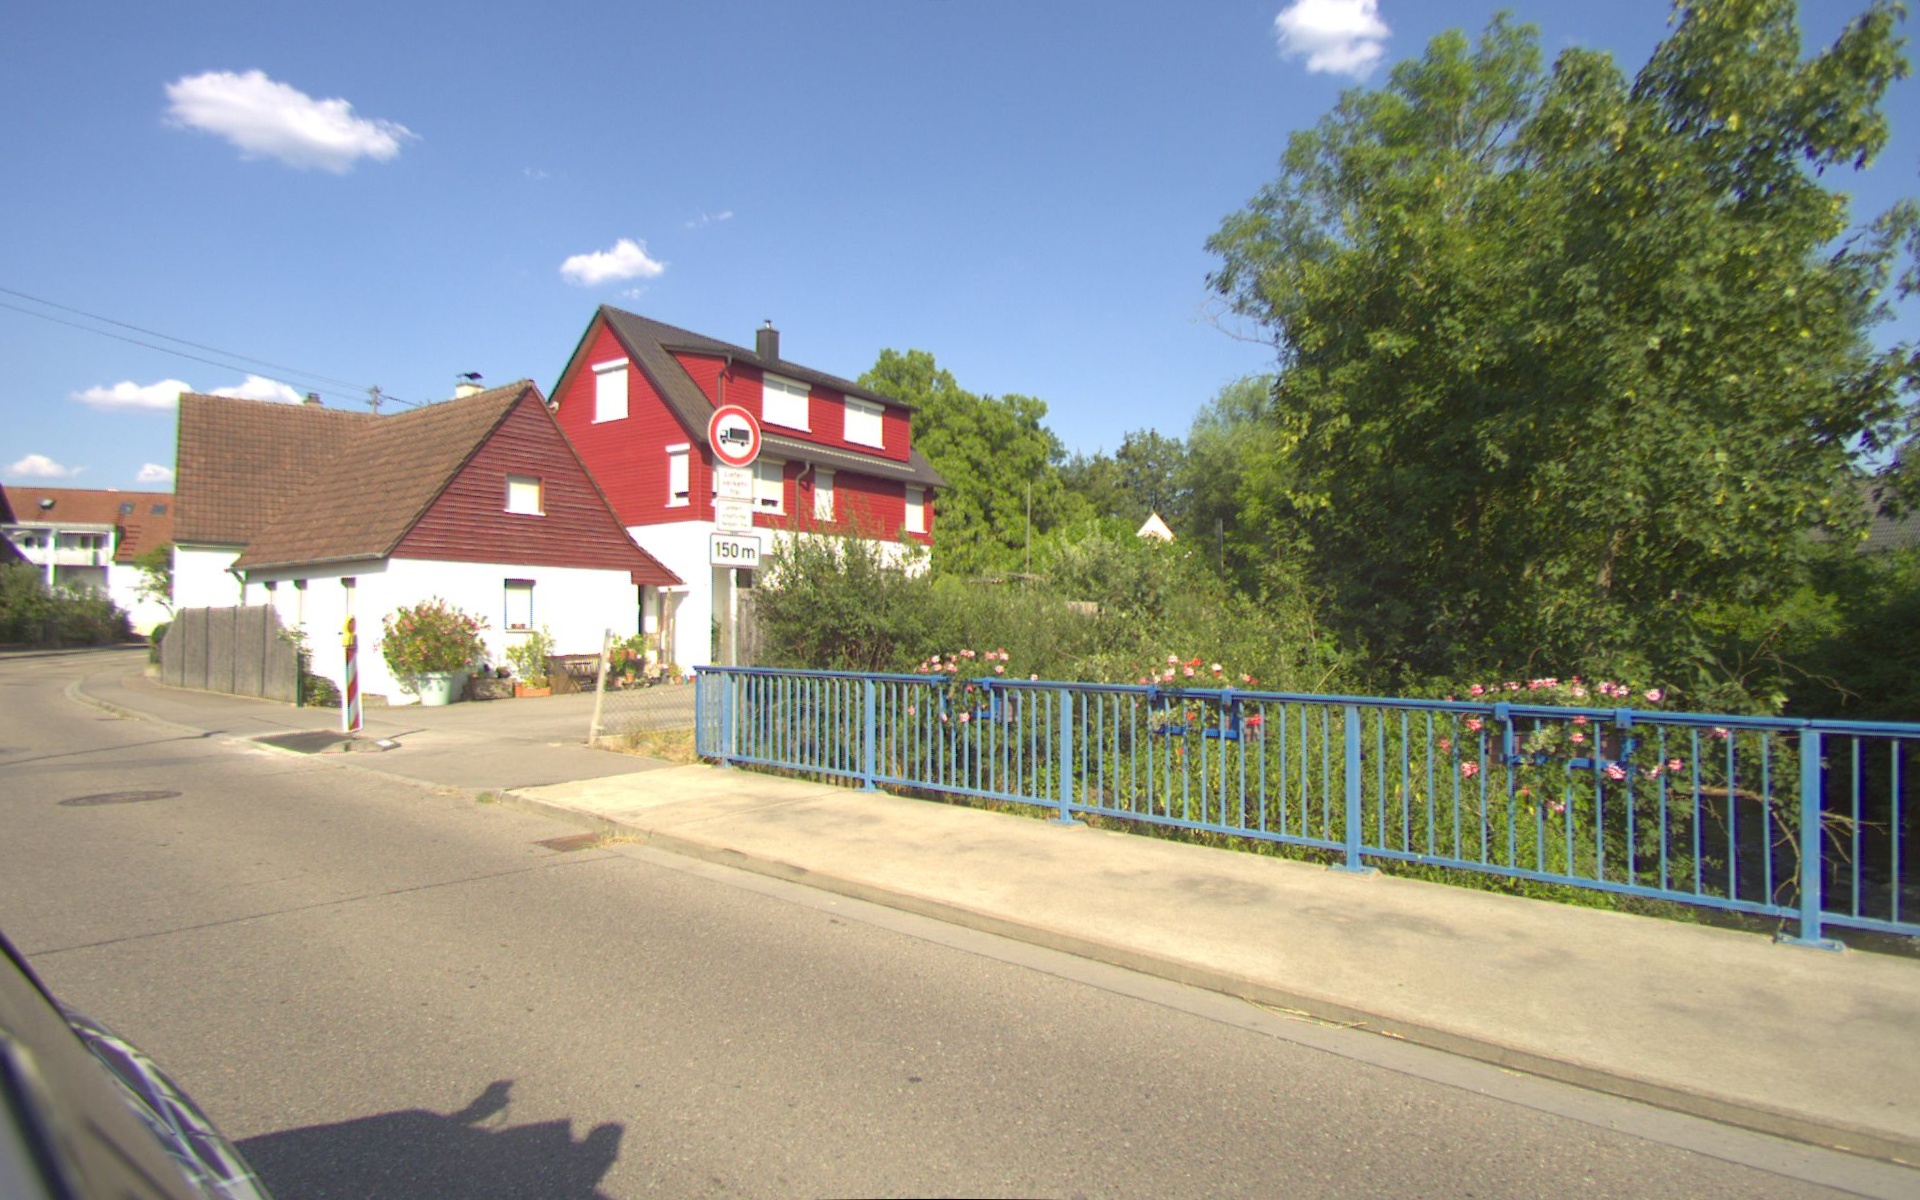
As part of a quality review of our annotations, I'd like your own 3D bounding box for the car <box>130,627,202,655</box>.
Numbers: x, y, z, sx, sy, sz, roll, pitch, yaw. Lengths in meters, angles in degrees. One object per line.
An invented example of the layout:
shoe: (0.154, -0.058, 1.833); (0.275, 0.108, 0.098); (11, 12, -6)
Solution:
car: (-50.166, 2.564, 64.048); (1.942, 1.669, 4.009); (2, -2, -11)
